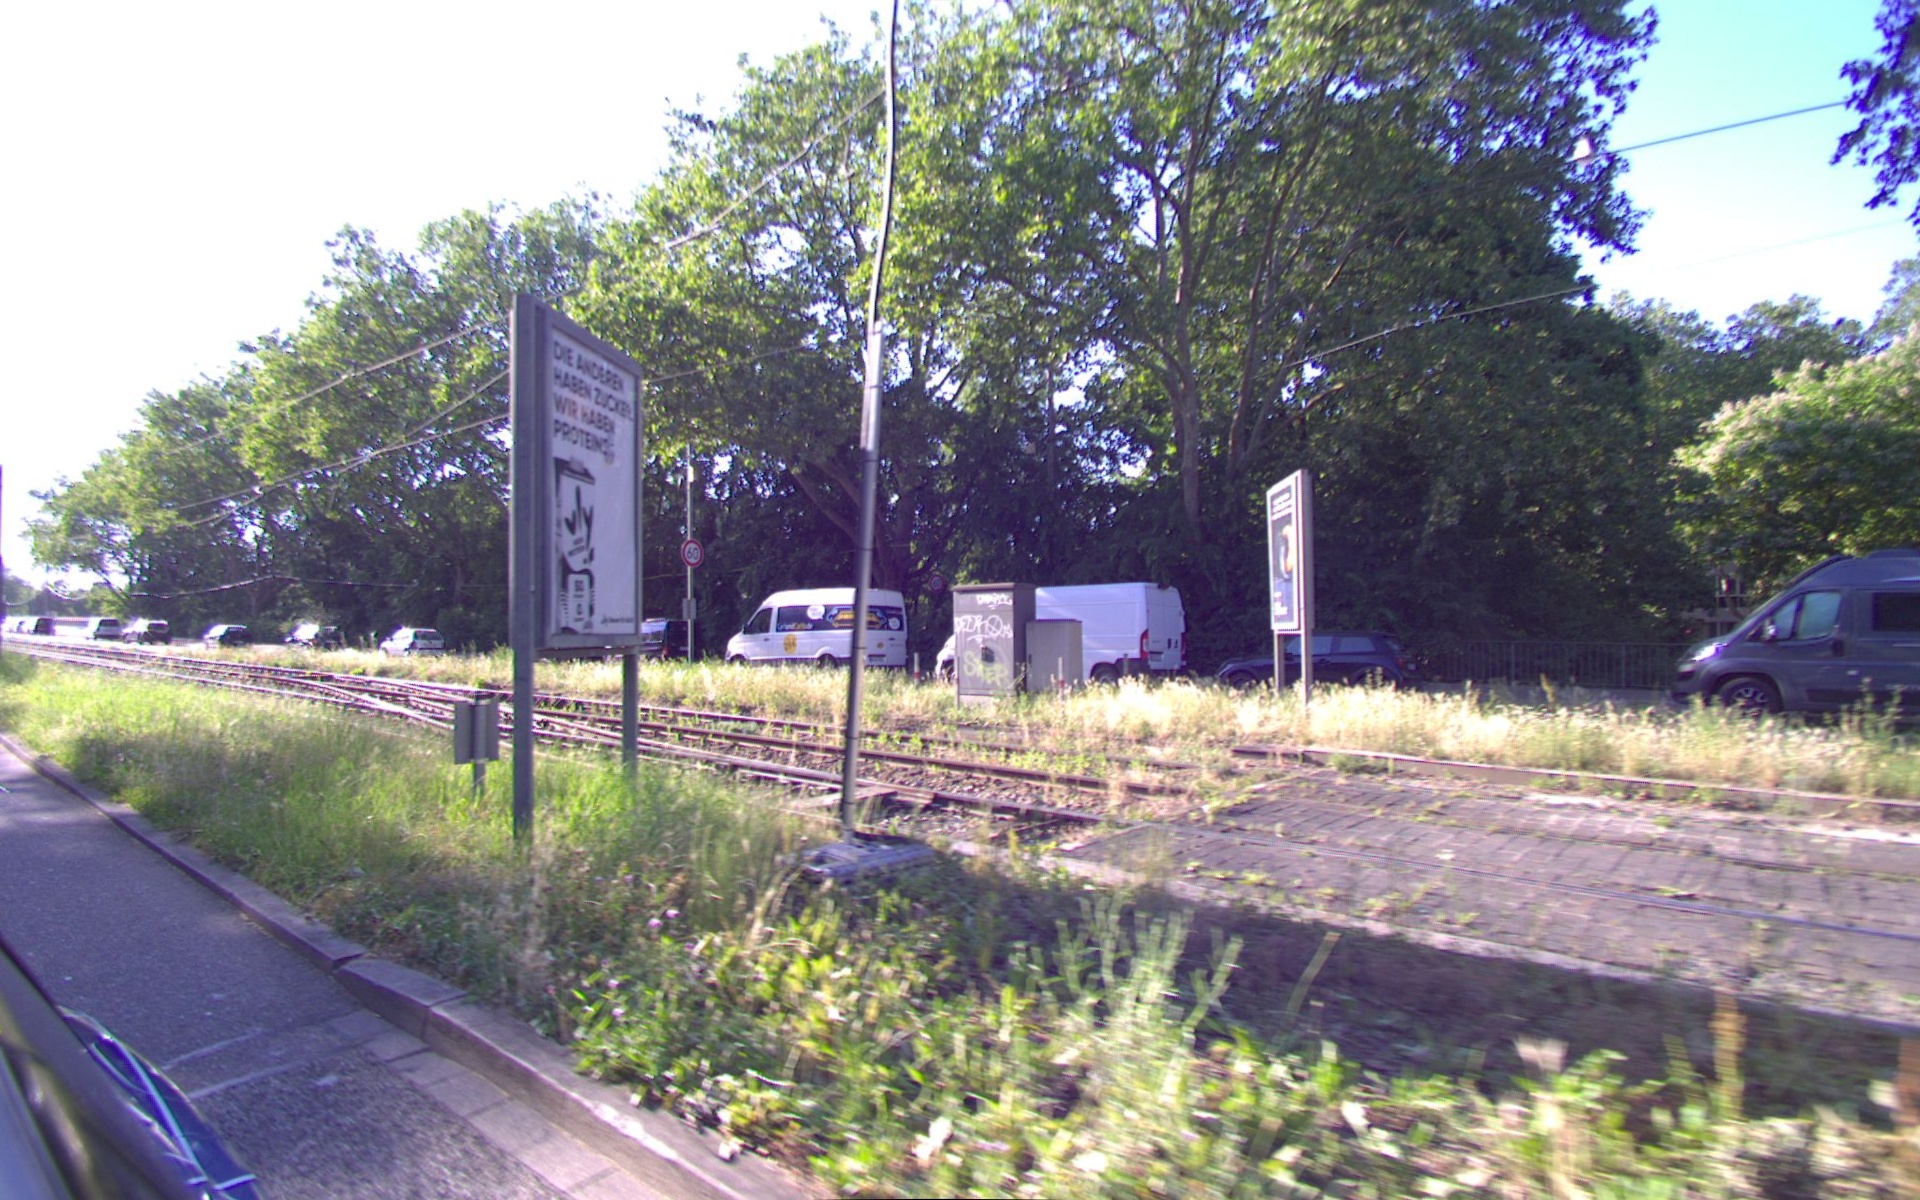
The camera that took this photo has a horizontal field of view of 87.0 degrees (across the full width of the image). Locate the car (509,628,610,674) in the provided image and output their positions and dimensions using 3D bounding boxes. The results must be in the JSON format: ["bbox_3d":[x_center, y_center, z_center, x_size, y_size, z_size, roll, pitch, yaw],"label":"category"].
[{"bbox_3d":[-14.722,1.842,37.159,3.877,1.567,1.722,-1,-3,38],"label":"car"}]

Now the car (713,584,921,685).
[{"bbox_3d":[-4.101,0.940,28.323,6.043,2.540,2.162,-1,-3,39],"label":"car"}]

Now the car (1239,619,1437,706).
[{"bbox_3d":[7.266,1.162,19.532,3.261,1.524,1.636,0,-3,37],"label":"car"}]

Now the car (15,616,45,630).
[{"bbox_3d":[-95.554,2.353,103.983,3.781,1.453,1.638,-1,-3,38],"label":"car"}]

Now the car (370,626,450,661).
[{"bbox_3d":[-24.357,1.906,44.777,3.847,1.448,1.722,-1,-3,38],"label":"car"}]

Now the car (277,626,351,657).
[{"bbox_3d":[-32.756,2.105,51.281,4.318,1.448,1.809,-1,-3,38],"label":"car"}]

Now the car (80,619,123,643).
[{"bbox_3d":[-69.771,2.532,82.227,4.389,1.854,1.809,-1,-3,38],"label":"car"}]

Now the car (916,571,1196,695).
[{"bbox_3d":[2.101,0.734,23.493,6.261,2.540,2.163,0,-3,37],"label":"car"}]

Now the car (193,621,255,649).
[{"bbox_3d":[-43.475,2.051,59.731,4.389,1.517,1.809,-1,-3,38],"label":"car"}]

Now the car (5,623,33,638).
[{"bbox_3d":[-99.841,3.236,107.388,3.782,1.453,1.637,-1,-3,39],"label":"car"}]

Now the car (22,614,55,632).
[{"bbox_3d":[-91.369,2.252,100.311,3.895,1.753,1.713,-1,-3,38],"label":"car"}]

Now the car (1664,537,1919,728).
[{"bbox_3d":[13.603,0.478,14.178,6.025,2.540,2.162,-1,-3,39],"label":"car"}]

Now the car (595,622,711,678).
[{"bbox_3d":[-10.186,1.626,33.475,3.877,1.741,1.722,-1,-3,38],"label":"car"}]

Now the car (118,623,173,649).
[{"bbox_3d":[-57.750,2.540,71.756,4.383,1.732,1.811,0,-3,34],"label":"car"}]
